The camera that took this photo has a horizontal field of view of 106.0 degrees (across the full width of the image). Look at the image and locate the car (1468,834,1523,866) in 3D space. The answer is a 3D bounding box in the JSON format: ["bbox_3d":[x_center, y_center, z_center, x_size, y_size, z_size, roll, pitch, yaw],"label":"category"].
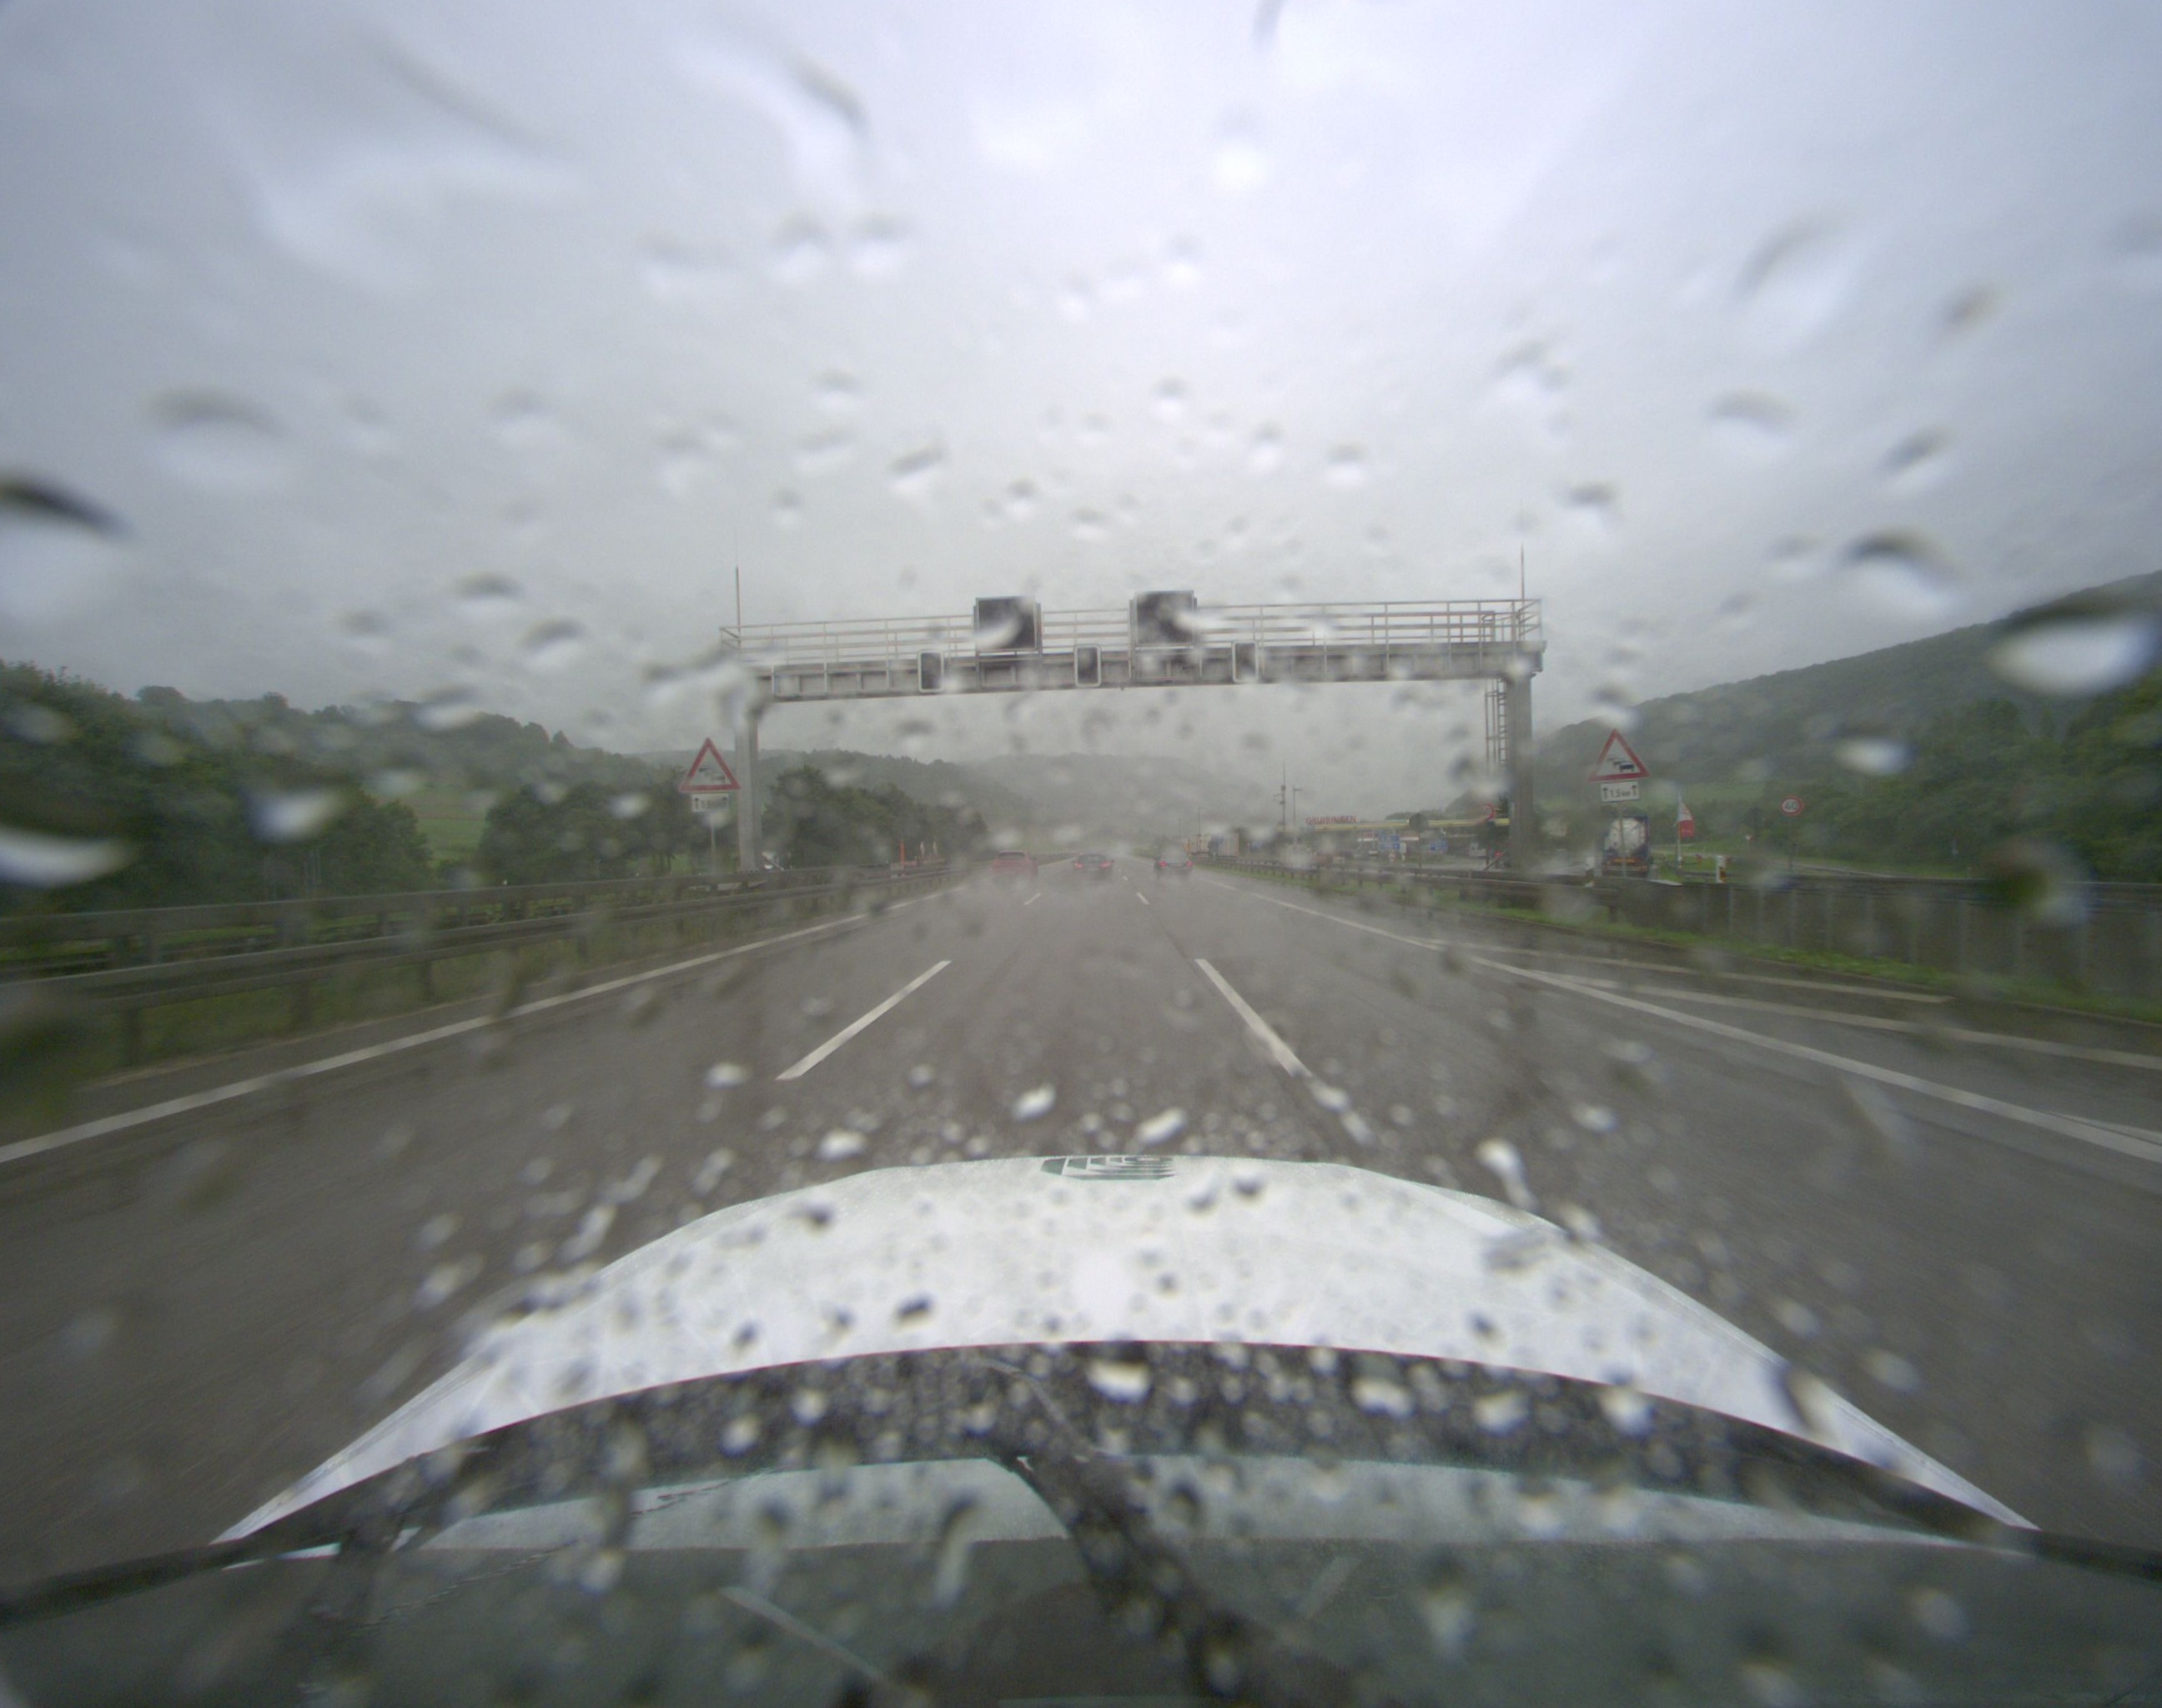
[{"bbox_3d":[27.212,-0.257,53.634,1.980,2.013,5.071,0,0,12],"label":"car"}]

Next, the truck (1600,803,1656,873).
[{"bbox_3d":[37.201,-0.963,55.404,2.843,4.256,11.947,0,0,34],"label":"truck"}]

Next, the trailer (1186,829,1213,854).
[{"bbox_3d":[20.499,-2.057,141.121,3.502,4.261,11.929,0,0,3],"label":"trailer"}]

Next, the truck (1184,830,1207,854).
[{"bbox_3d":[20.827,-2.047,148.144,3.513,4.220,7.822,0,0,3],"label":"truck"}]

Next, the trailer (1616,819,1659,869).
[{"bbox_3d":[46.990,-0.763,68.708,2.757,3.900,11.825,0,0,35],"label":"trailer"}]

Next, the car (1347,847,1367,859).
[{"bbox_3d":[49.881,-0.146,147.476,2.073,2.182,4.894,0,0,1],"label":"car"}]

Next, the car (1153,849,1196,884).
[{"bbox_3d":[4.981,0.656,43.968,1.964,1.760,4.002,-1,0,2],"label":"car"}]

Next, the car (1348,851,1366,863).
[{"bbox_3d":[47.424,0.454,139.911,1.953,2.013,4.002,0,0,2],"label":"car"}]

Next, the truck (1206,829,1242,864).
[{"bbox_3d":[19.414,-1.002,111.028,3.388,4.402,11.055,1,0,2],"label":"truck"}]

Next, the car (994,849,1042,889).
[{"bbox_3d":[-2.991,0.684,39.315,1.878,1.816,4.001,-1,0,1],"label":"car"}]

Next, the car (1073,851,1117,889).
[{"bbox_3d":[0.685,0.691,36.859,1.852,1.589,4.002,0,0,2],"label":"car"}]

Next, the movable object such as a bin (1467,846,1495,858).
[{"bbox_3d":[66.807,-0.378,136.101,2.158,2.013,5.384,0,0,1],"label":"movable object such as a bin"}]
